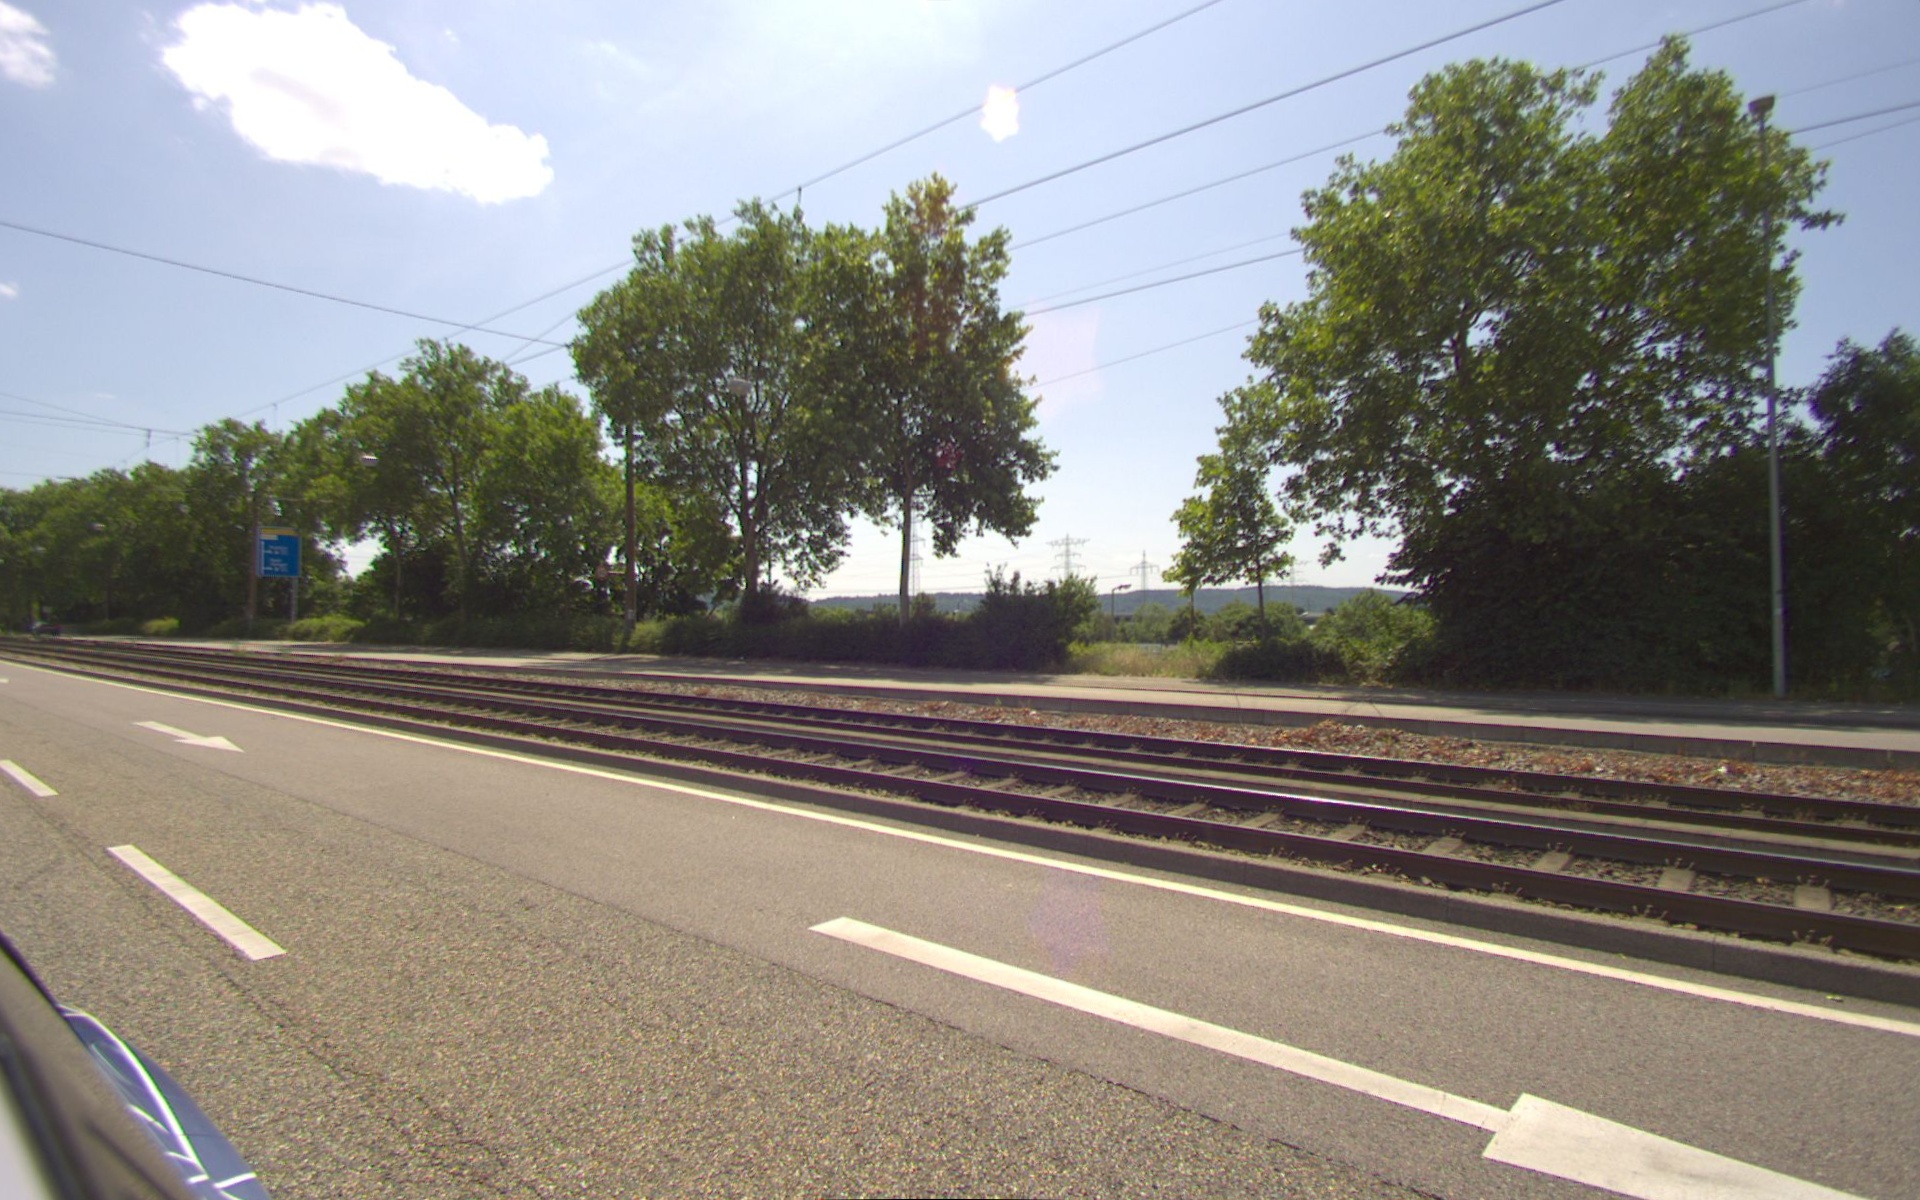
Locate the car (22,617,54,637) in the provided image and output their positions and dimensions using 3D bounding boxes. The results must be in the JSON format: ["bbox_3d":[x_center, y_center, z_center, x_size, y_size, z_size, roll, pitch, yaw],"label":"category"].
[{"bbox_3d":[-90.382,2.622,99.206,4.411,1.932,1.972,-1,-1,43],"label":"car"}]
